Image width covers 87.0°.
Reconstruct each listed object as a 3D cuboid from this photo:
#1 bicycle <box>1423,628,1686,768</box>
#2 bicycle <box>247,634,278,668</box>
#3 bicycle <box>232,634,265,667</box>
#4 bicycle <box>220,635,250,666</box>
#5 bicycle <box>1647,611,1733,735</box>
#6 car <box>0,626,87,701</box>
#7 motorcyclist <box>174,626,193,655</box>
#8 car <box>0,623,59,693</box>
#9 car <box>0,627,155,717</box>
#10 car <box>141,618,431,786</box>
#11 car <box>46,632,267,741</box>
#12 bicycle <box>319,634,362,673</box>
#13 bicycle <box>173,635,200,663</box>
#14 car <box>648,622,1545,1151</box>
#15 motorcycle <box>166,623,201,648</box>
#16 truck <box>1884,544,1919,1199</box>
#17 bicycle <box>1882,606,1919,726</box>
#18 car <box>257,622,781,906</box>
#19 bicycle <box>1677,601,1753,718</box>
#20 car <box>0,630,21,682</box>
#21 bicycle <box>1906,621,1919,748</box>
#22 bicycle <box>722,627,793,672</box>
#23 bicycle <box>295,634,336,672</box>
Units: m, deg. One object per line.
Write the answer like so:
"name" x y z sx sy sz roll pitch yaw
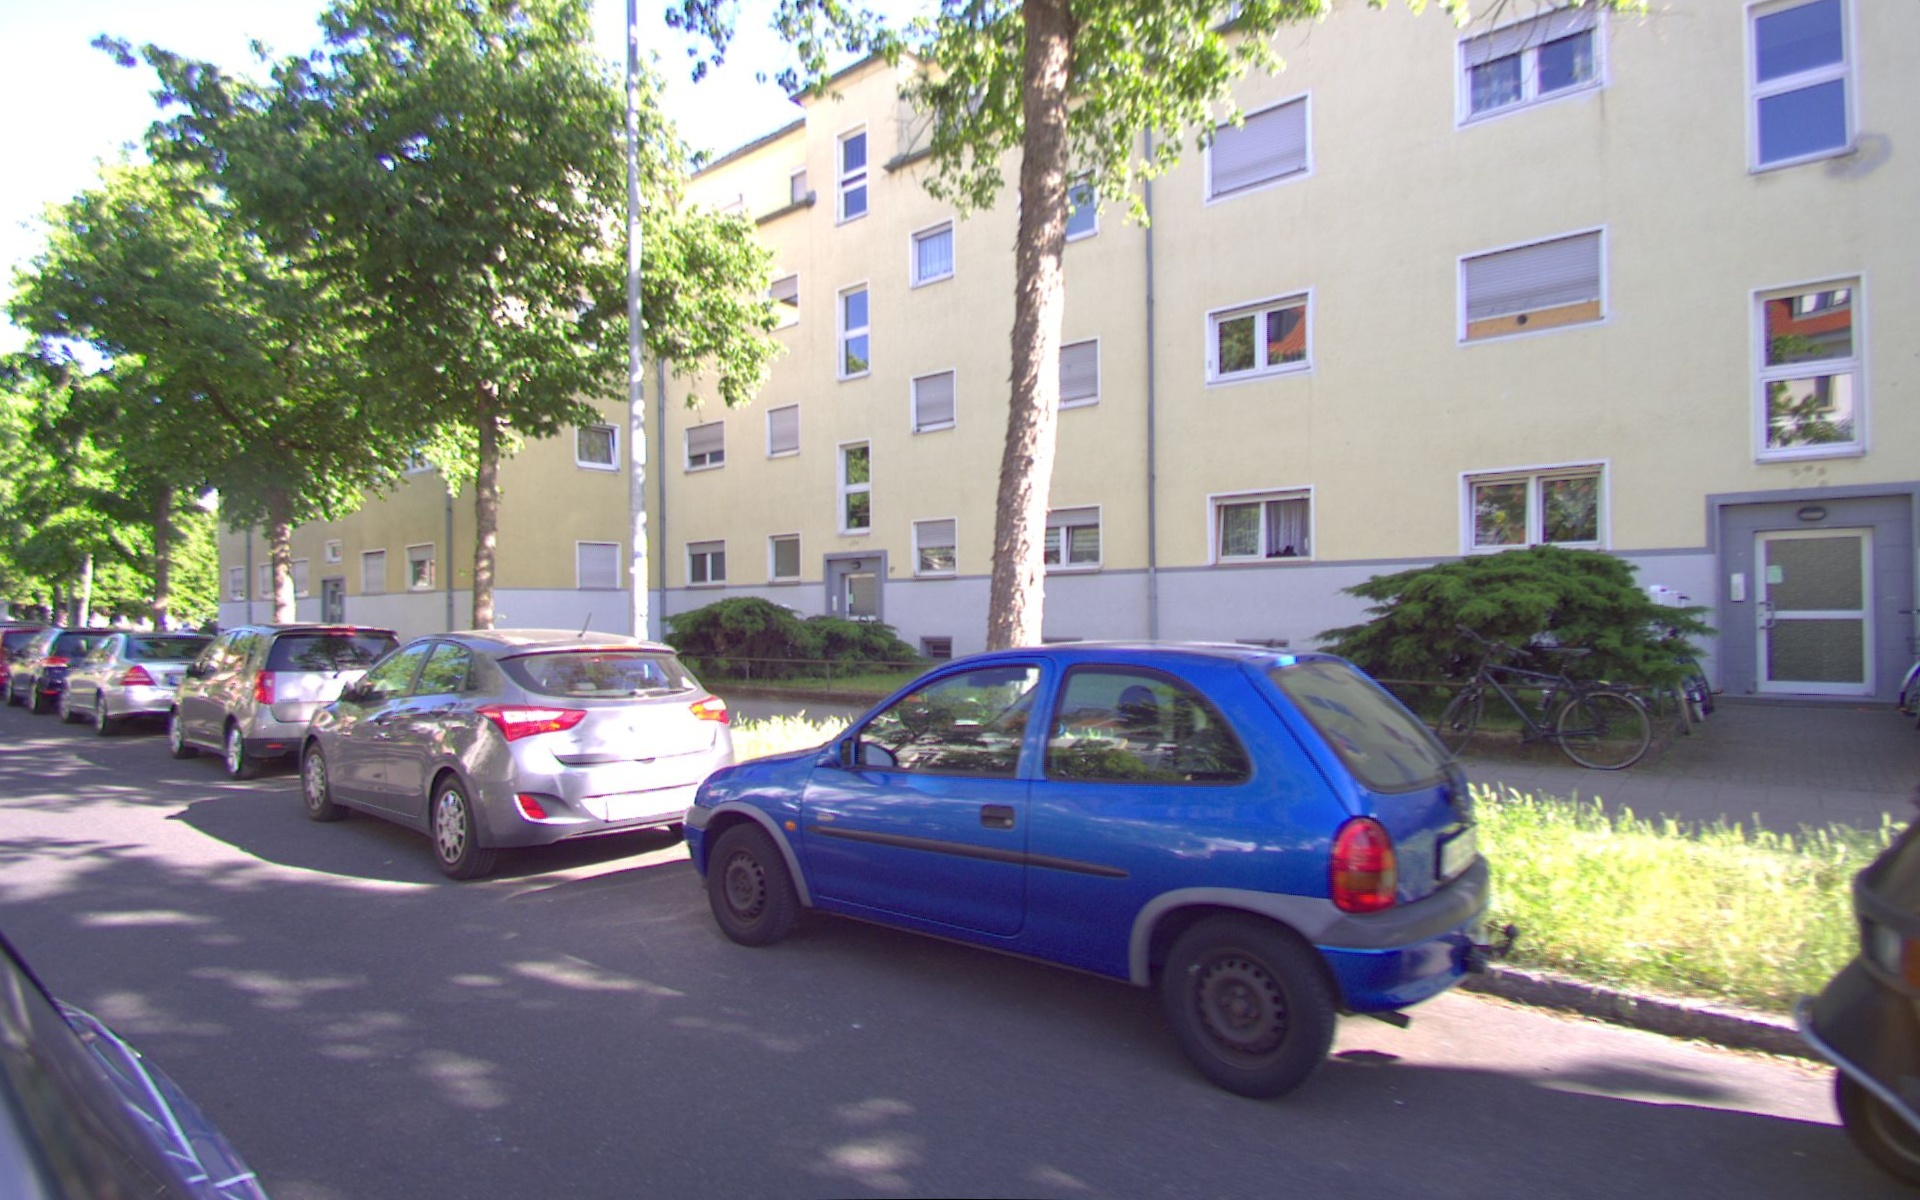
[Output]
"bicycle" 4.949 0.796 8.534 1.829 1.089 0.484 -1 1 17
"bicycle" -21.591 1.566 31.314 1.545 1.008 0.509 -2 -2 44
"bicycle" -22.815 1.607 32.447 1.544 1.008 0.506 -2 -2 41
"bicycle" -24.174 1.667 33.752 1.680 1.008 0.430 -2 -2 41
"bicycle" 7.477 0.698 10.332 0.487 1.089 1.819 0 2 43
"car" -20.124 1.323 21.729 3.254 1.497 1.647 -2 -2 41
"motorcyclist" -38.050 1.984 49.614 0.546 1.413 0.520 0 -1 -3
"car" -23.610 1.377 24.701 4.730 1.577 1.675 -2 -2 39
"car" -16.329 1.251 18.636 3.930 1.470 1.647 -2 -2 41
"car" -7.618 1.011 11.275 4.267 1.527 1.603 -2 -4 41
"car" -12.117 1.176 15.141 4.671 1.379 1.727 -2 -2 41
"bicycle" -16.927 1.440 27.632 1.748 1.034 0.530 -2 -2 42
"bicycle" -28.594 1.795 37.408 1.544 1.008 0.471 -2 -2 41
"car" 0.338 0.819 4.499 3.723 1.406 1.505 -2 -2 39
"motorcycle" -38.052 1.711 49.627 0.546 1.184 1.633 -1 -1 -3
"truck" 3.317 0.649 1.796 2.431 1.589 1.072 -2 -2 43
"bicycle" 9.897 0.646 10.335 0.486 1.089 1.823 2 3 36
"car" -3.486 0.925 7.471 4.687 1.455 1.772 -2 -3 42
"bicycle" 8.491 0.625 11.357 0.487 1.154 1.819 0 2 43
"car" -28.452 1.596 28.905 3.988 1.453 1.743 -2 -2 37
"bicycle" 8.244 0.725 8.300 0.486 1.089 1.822 -2 -2 37
"bicycle" -4.397 1.062 22.069 0.480 0.938 1.617 -2 -2 37
"bicycle" -18.397 1.496 28.884 1.748 1.034 0.534 -2 -2 42
